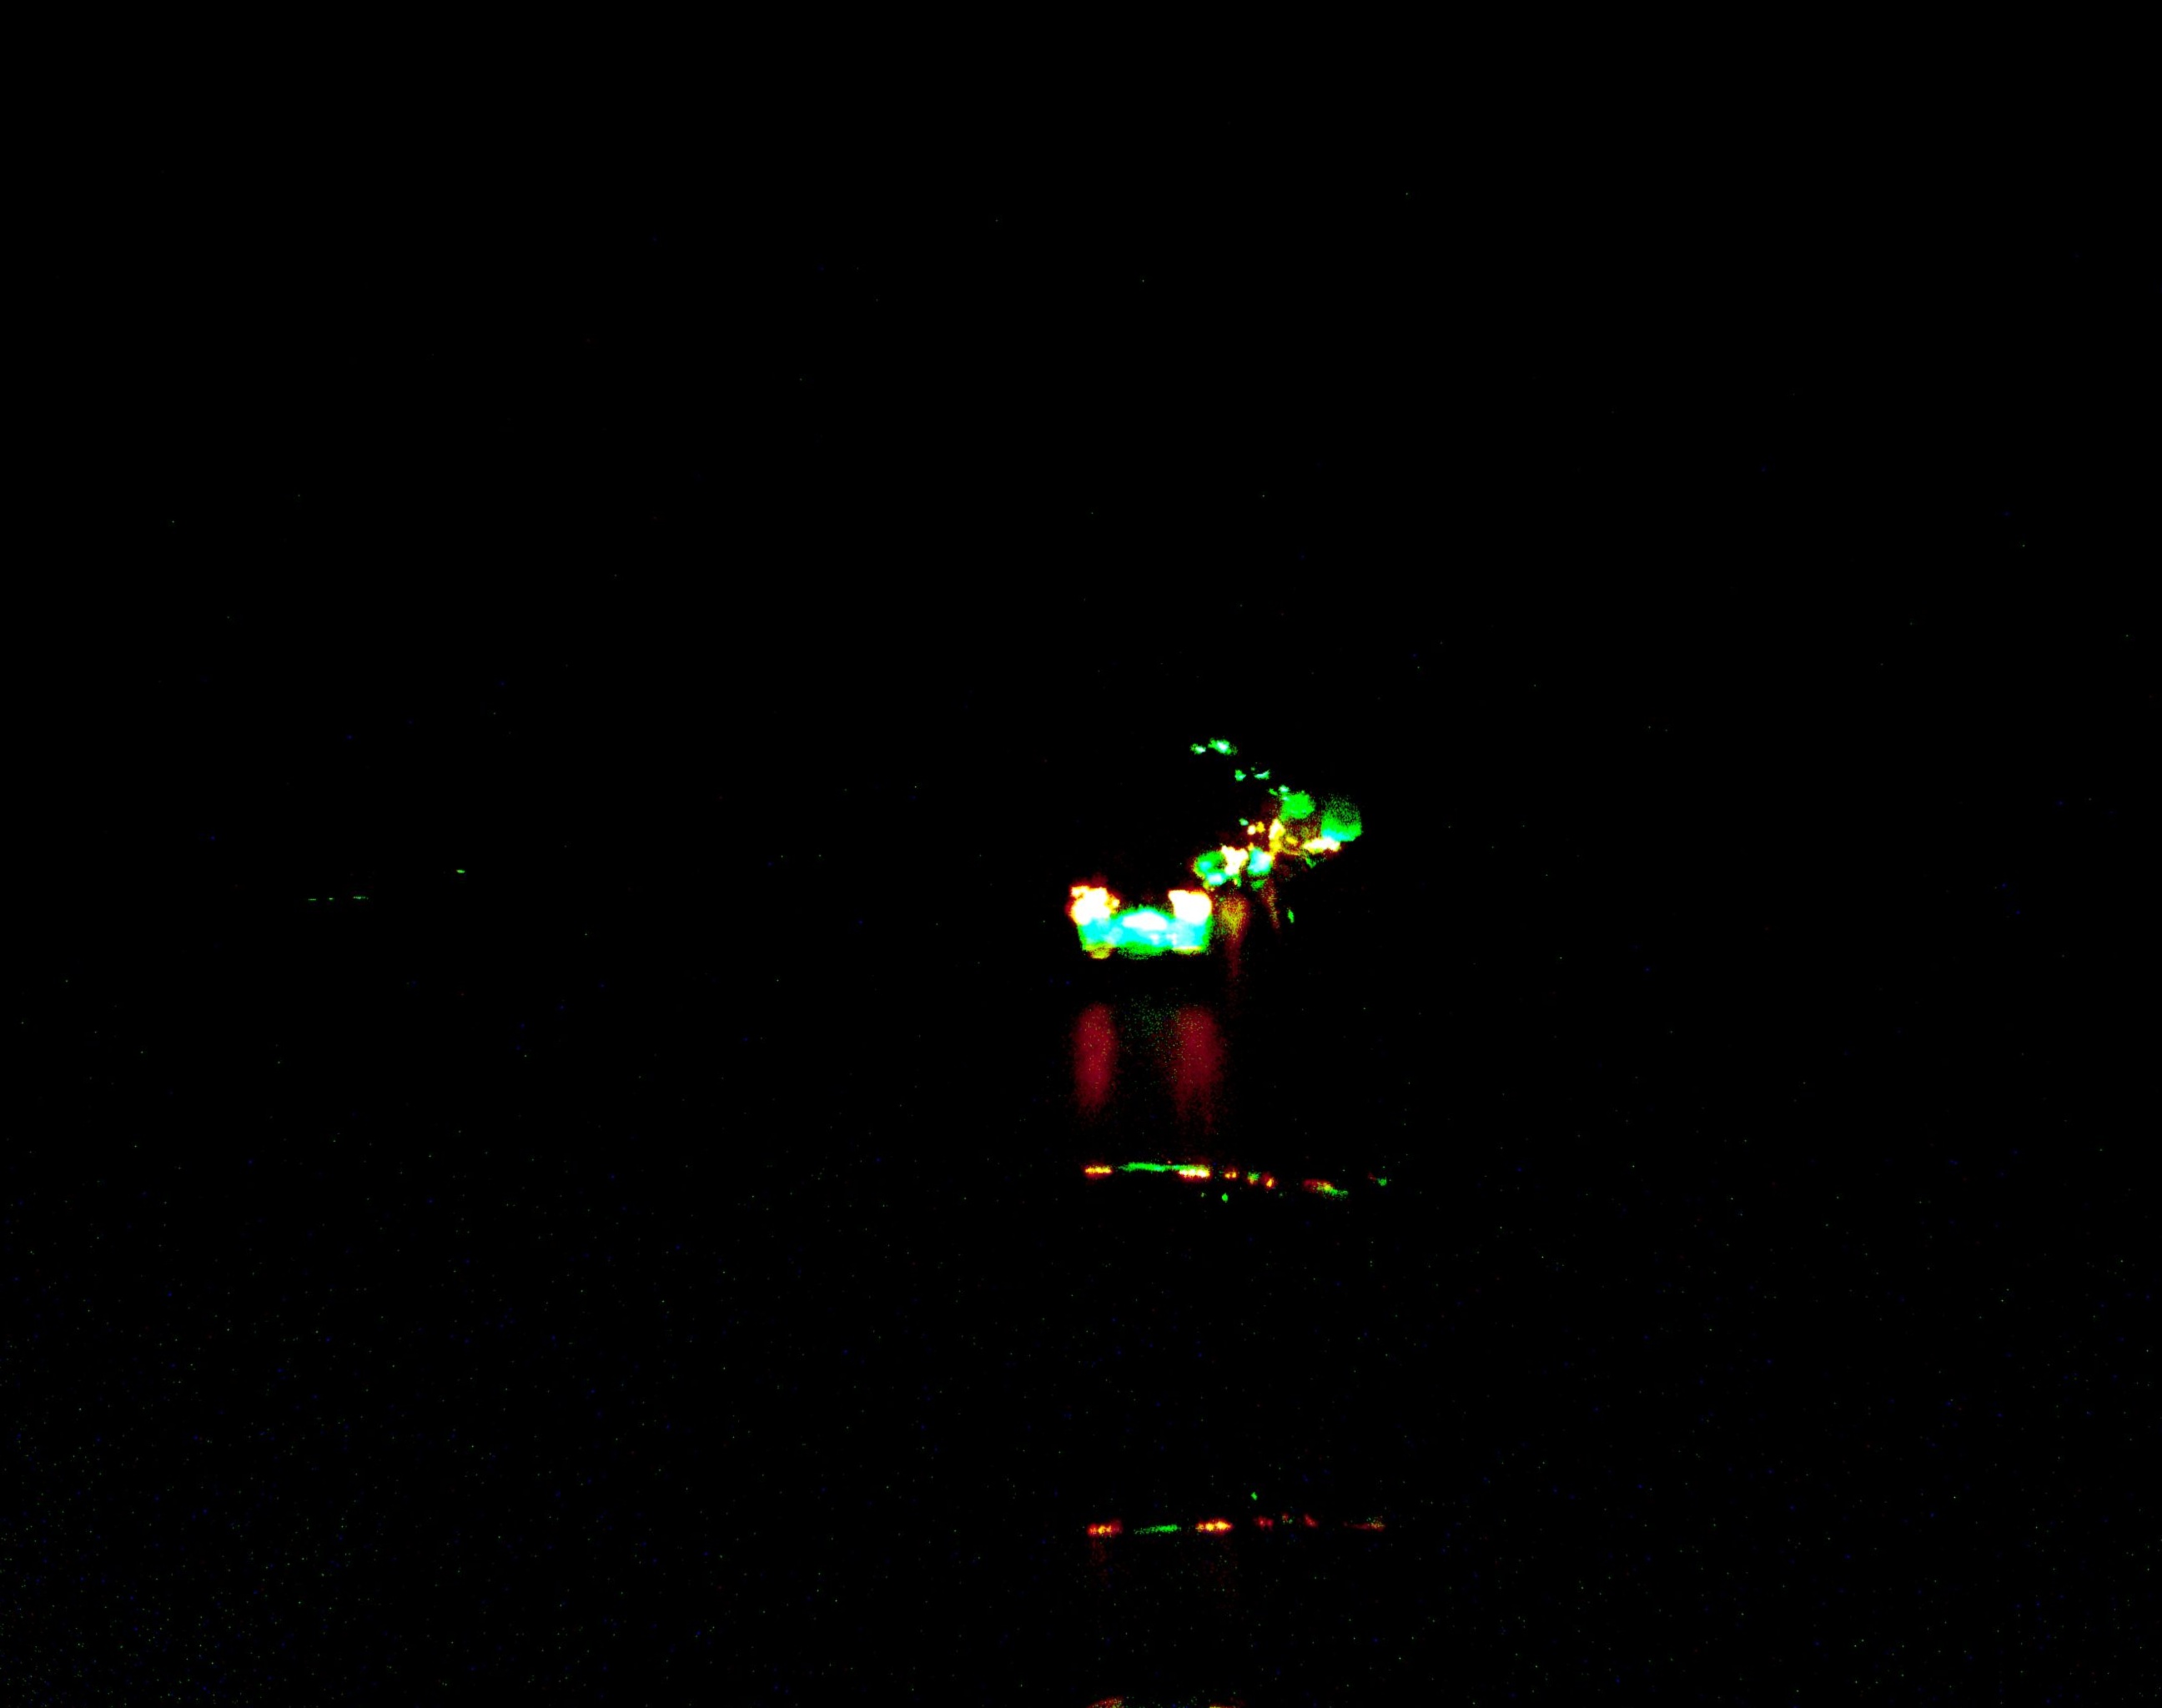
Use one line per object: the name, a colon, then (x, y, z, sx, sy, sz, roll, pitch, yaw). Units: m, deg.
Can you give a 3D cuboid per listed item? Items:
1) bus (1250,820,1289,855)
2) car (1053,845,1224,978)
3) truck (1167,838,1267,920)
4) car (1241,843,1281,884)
bus: (18.208, -1.621, 78.167, 2.721, 3.123, 9.246, -1, 1, 18)
car: (0.961, 0.676, 11.314, 1.933, 1.491, 3.726, -2, 0, 9)
truck: (4.991, 0.807, 29.006, 3.049, 2.528, 7.190, -1, -1, 12)
car: (9.110, 0.475, 41.365, 1.824, 1.948, 4.013, -1, -1, 11)
